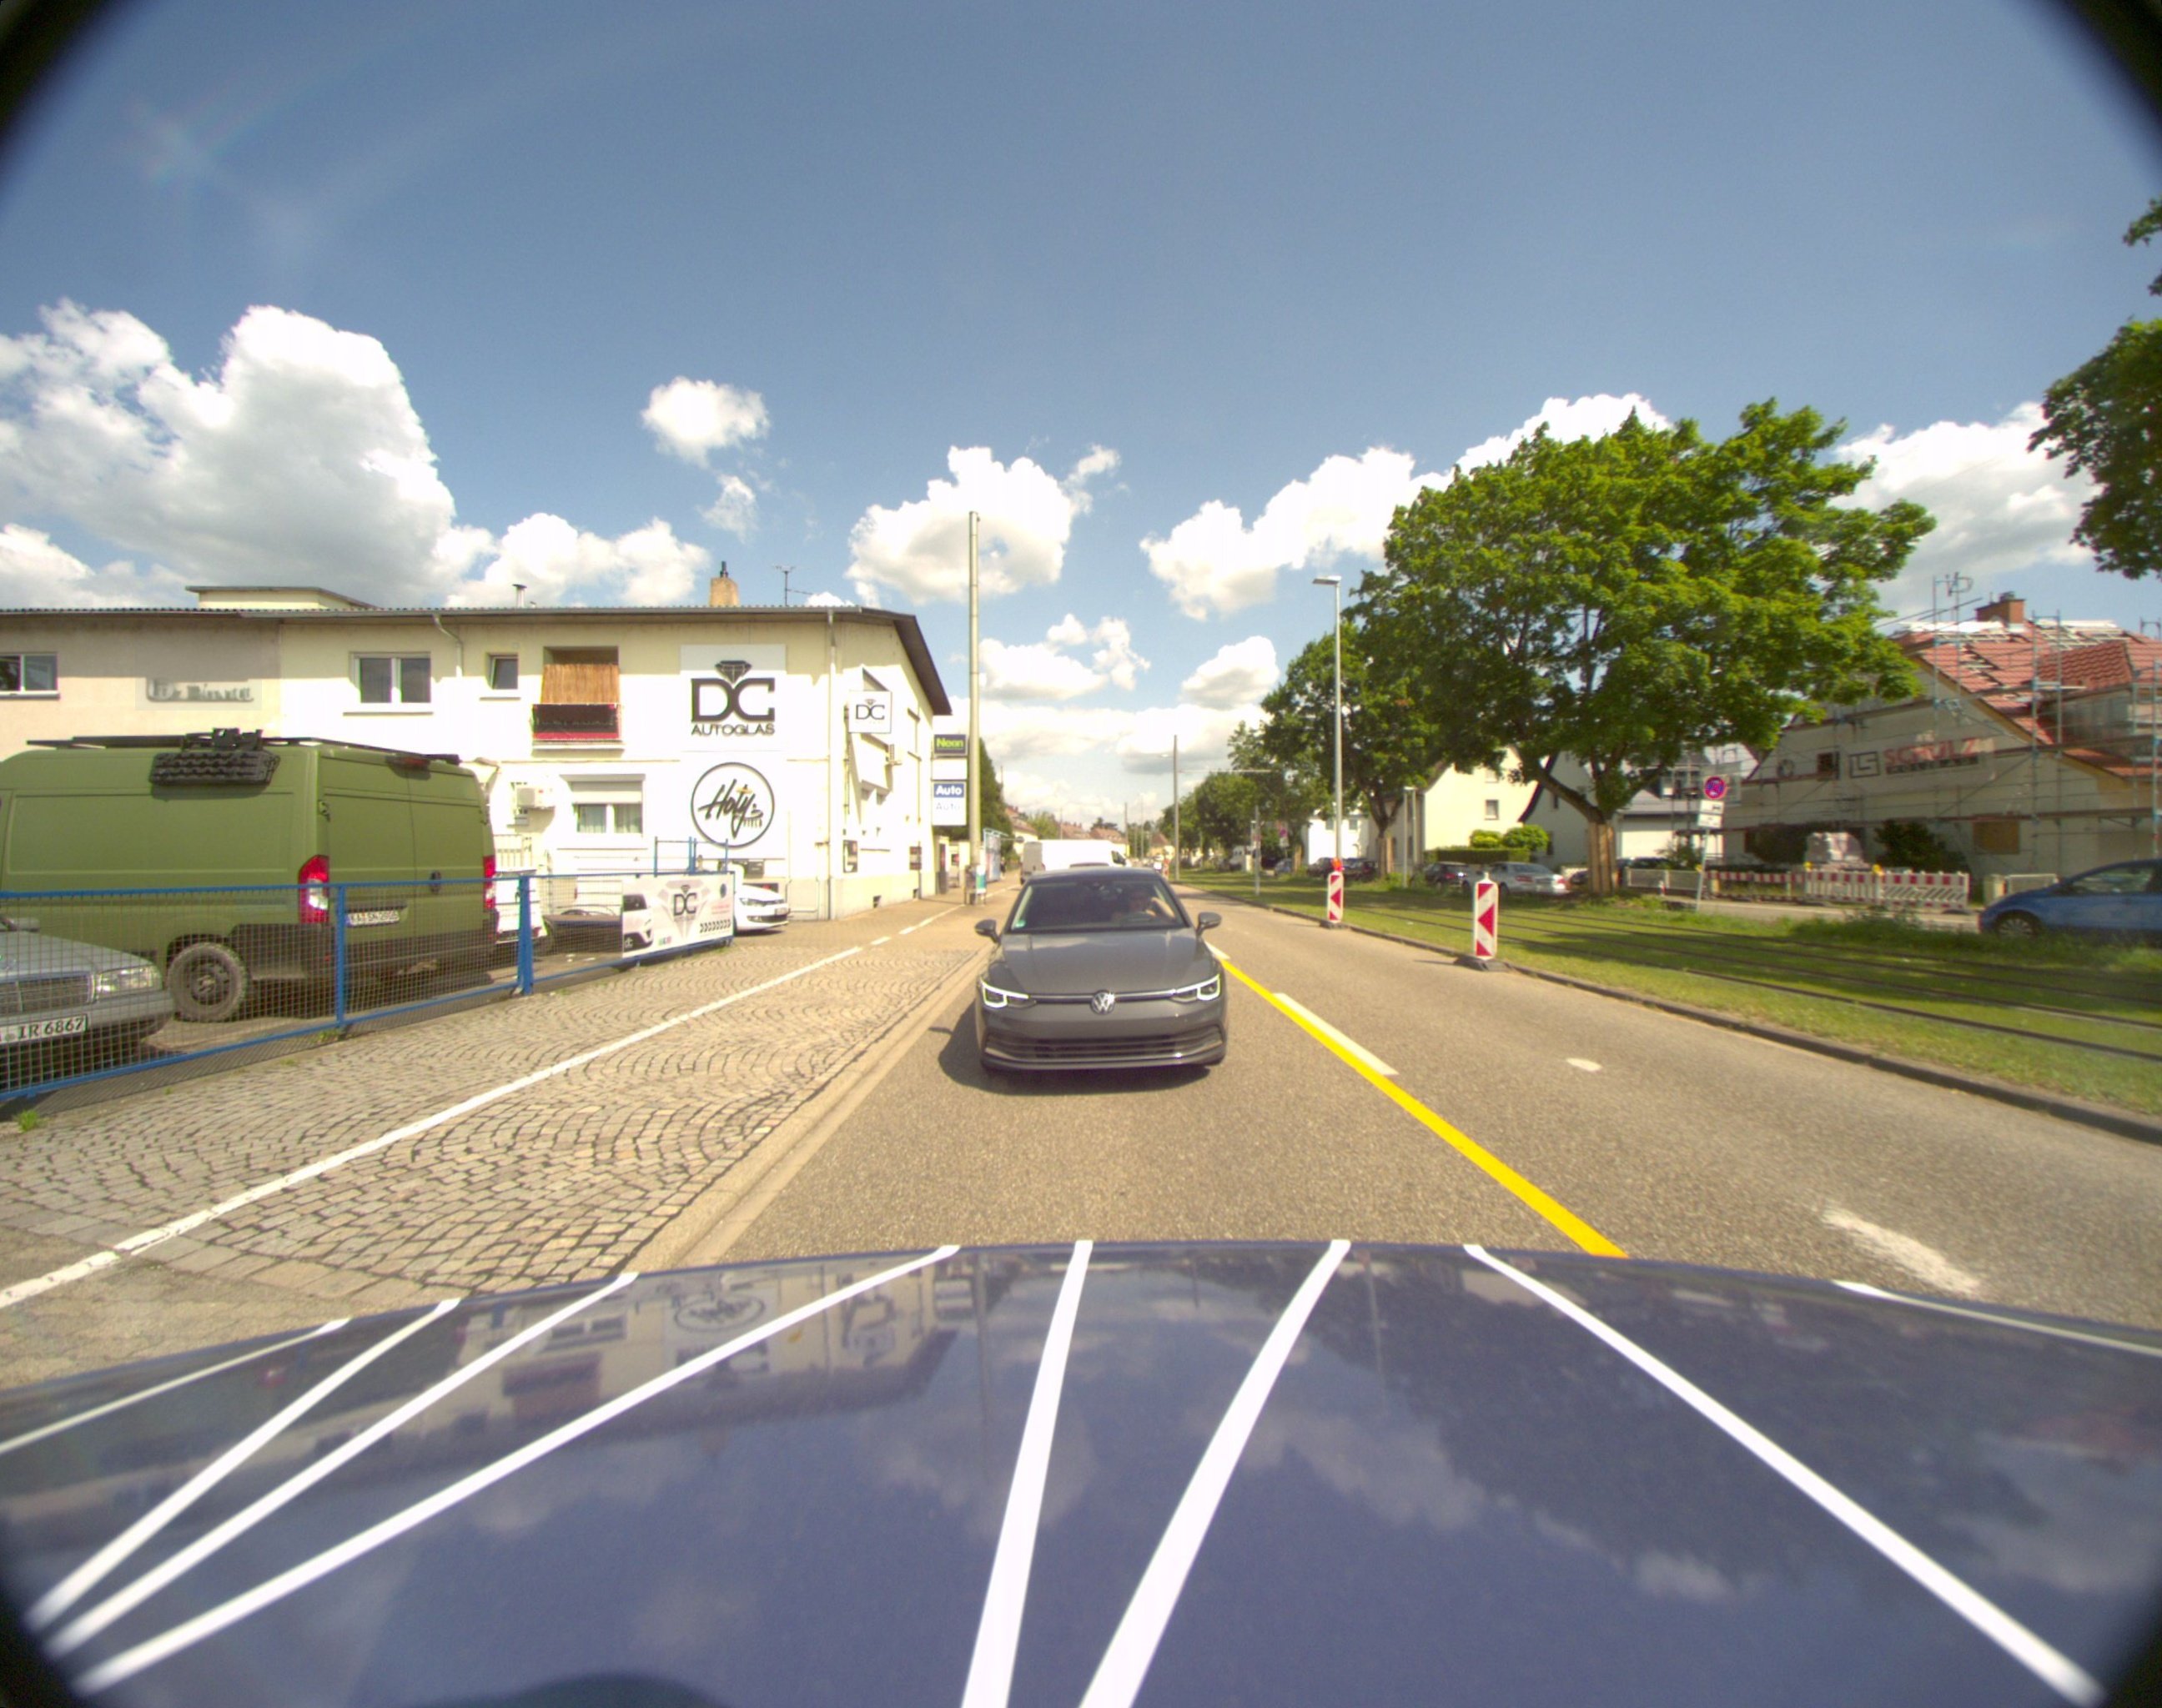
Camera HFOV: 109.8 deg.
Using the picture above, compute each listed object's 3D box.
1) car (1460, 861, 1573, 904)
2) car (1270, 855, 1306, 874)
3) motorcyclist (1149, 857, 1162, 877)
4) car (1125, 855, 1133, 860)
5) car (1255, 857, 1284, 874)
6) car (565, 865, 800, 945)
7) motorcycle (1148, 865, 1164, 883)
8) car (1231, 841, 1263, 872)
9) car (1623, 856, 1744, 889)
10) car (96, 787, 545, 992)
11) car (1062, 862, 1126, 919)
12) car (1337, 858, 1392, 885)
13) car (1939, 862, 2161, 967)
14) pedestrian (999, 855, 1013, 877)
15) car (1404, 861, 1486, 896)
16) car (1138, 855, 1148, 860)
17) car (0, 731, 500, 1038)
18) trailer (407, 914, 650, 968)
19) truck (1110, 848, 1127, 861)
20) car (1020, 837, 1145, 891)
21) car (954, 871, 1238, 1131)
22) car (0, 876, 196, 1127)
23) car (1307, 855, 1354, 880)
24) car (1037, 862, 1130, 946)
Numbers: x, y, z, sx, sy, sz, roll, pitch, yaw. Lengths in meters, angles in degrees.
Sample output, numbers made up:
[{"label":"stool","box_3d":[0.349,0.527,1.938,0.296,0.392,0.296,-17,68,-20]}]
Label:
[{"label":"car","box_3d":[16.418,1.066,28.939,1.788,1.477,4.523,-1,-1,2]},{"label":"car","box_3d":[16.642,0.874,61.284,1.702,1.477,4.407,-1,-1,1]},{"label":"motorcyclist","box_3d":[4.682,0.818,47.671,0.659,1.284,0.779,0,0,-4]},{"label":"car","box_3d":[13.819,0.939,218.685,1.700,1.574,4.005,0,0,16]},{"label":"car","box_3d":[17.644,1.076,71.329,1.702,1.477,4.407,-1,-1,1]},{"label":"car","box_3d":[-7.664,0.959,14.820,3.775,1.454,1.555,0,0,2]},{"label":"motorcycle","box_3d":[4.688,1.232,47.601,0.659,1.040,2.110,0,0,-4]},{"label":"car","box_3d":[16.815,0.272,77.274,2.136,3.019,5.084,-1,-1,1]},{"label":"car","box_3d":[28.904,0.890,36.513,4.402,1.477,1.704,-1,-1,1]},{"label":"car","box_3d":[-9.503,0.422,9.707,4.207,2.392,1.586,0,0,2]},{"label":"car","box_3d":[0.372,1.004,22.260,1.702,1.477,4.000,0,0,1]},{"label":"car","box_3d":[16.768,1.034,45.157,1.702,1.477,4.407,-1,-1,1]},{"label":"car","box_3d":[16.211,0.866,11.401,1.702,1.477,4.407,-1,-1,1]},{"label":"pedestrian","box_3d":[-5.857,0.950,59.693,0.941,1.741,1.278,0,0,1]},{"label":"car","box_3d":[16.623,1.120,34.940,1.702,1.477,4.407,-1,-1,1]},{"label":"car","box_3d":[16.890,0.955,206.445,2.116,1.477,4.410,0,0,12]},{"label":"car","box_3d":[-8.727,0.270,7.612,4.207,2.627,2.113,0,0,2]},{"label":"trailer","box_3d":[-8.369,1.305,11.662,2.733,0.662,1.329,0,0,-1]},{"label":"truck","box_3d":[9.910,0.137,201.053,2.710,3.119,8.124,0,0,15]},{"label":"car","box_3d":[0.144,0.515,37.007,5.853,2.449,2.086,1,0,-35]},{"label":"car","box_3d":[0.117,0.935,6.573,1.702,1.477,4.000,0,0,1]},{"label":"car","box_3d":[-8.460,0.887,4.776,4.282,1.444,1.713,0,0,8]},{"label":"car","box_3d":[16.552,0.898,50.663,1.702,1.562,4.407,-1,-1,1]},{"label":"car","box_3d":[0.079,0.939,15.893,1.702,1.477,4.000,0,0,1]}]
